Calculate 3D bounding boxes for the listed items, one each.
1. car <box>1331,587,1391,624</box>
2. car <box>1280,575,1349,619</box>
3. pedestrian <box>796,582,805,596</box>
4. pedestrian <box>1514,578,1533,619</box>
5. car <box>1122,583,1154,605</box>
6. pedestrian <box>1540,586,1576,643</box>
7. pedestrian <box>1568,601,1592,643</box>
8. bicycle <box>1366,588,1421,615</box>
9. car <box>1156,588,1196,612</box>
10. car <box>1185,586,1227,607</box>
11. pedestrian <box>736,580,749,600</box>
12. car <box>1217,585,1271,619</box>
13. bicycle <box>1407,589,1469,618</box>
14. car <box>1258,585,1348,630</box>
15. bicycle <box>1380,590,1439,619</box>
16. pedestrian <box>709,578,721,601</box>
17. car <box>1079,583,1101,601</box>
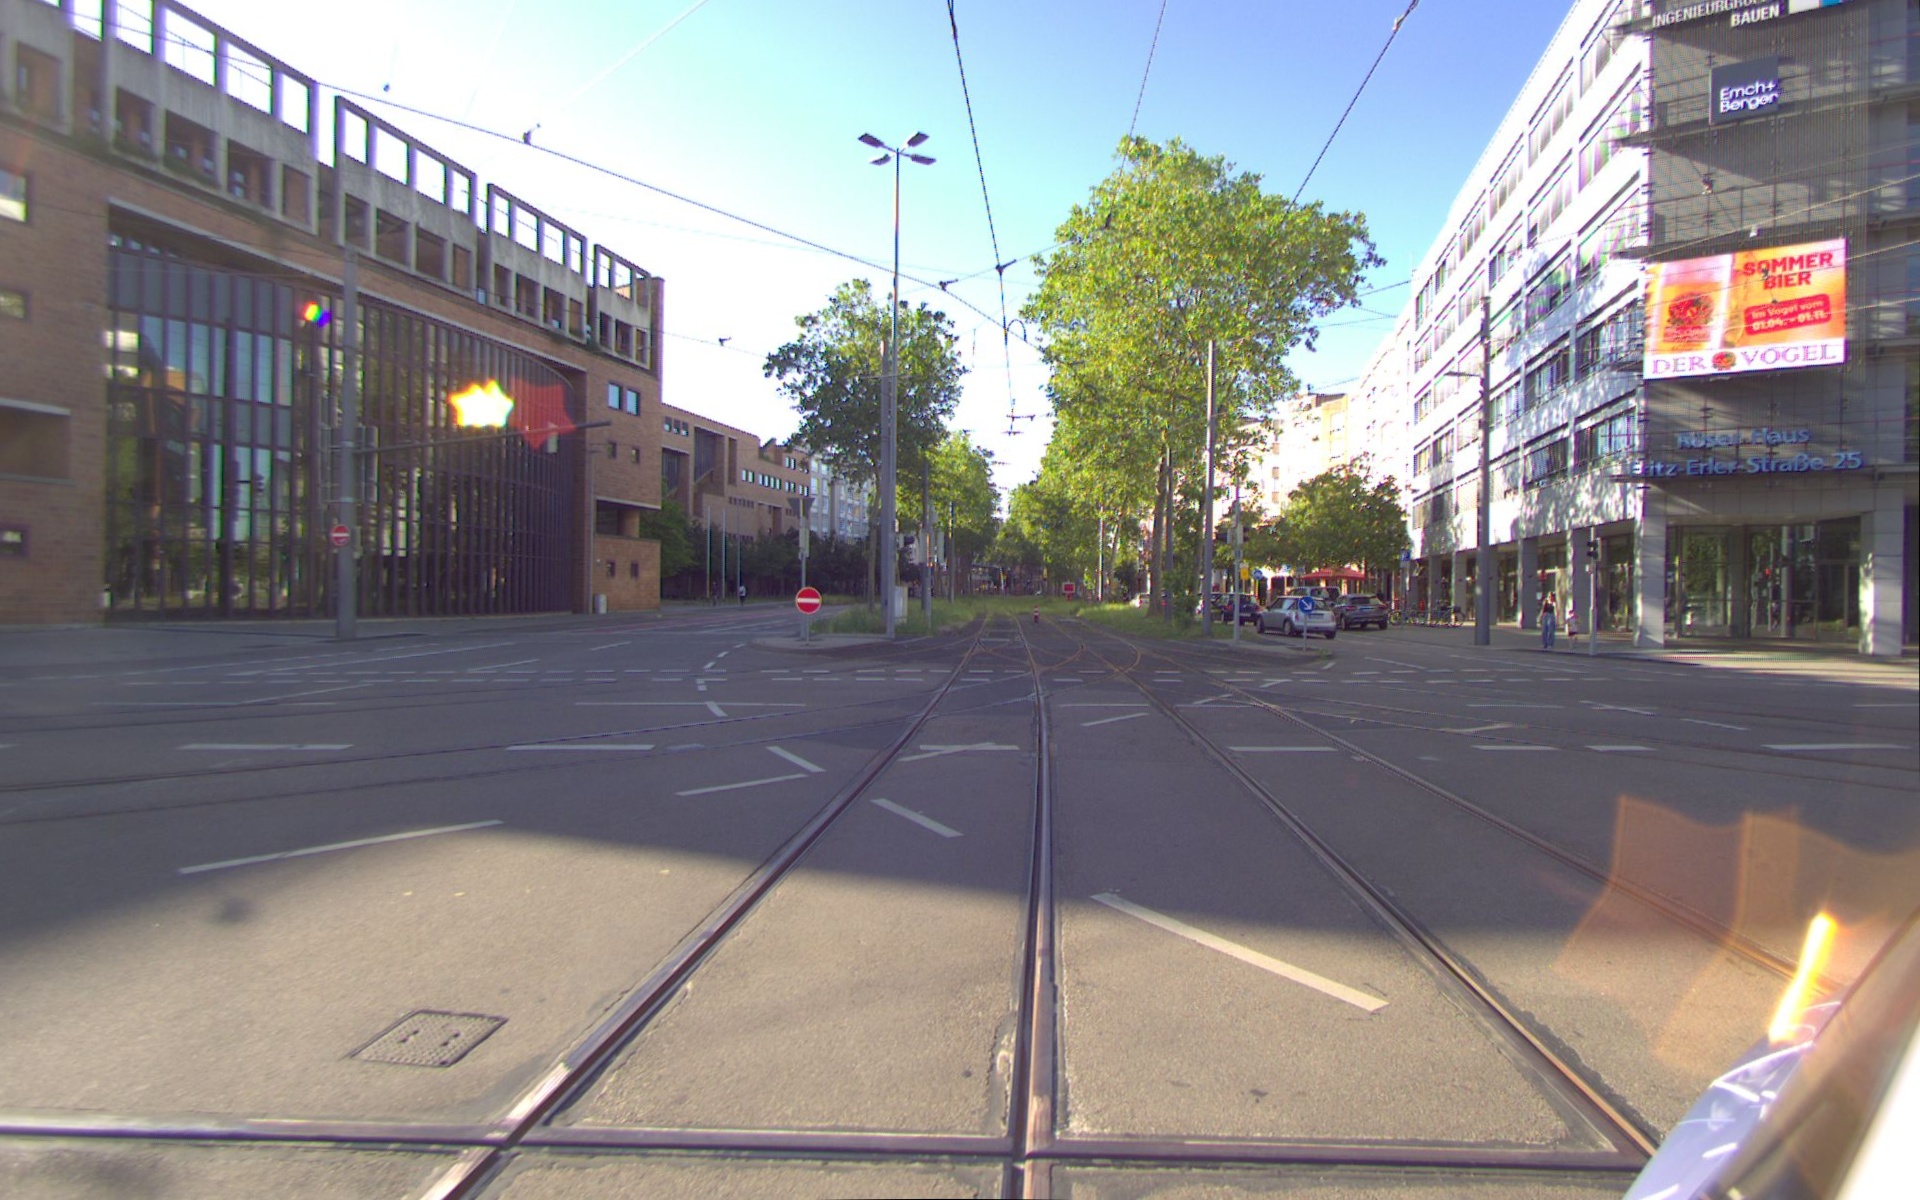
[{"bbox_3d":[17.146,0.190,43.448,1.839,1.493,3.961,1,1,13],"label":"car"},{"bbox_3d":[17.191,-0.179,49.286,1.832,2.041,4.456,1,1,1],"label":"car"},{"bbox_3d":[-15.585,-1.094,98.853,0.798,1.401,0.686,1,0,4],"label":"pedestrian"},{"bbox_3d":[24.452,-0.055,43.924,0.580,1.756,0.788,0,-1,20],"label":"pedestrian"},{"bbox_3d":[12.772,-0.432,72.783,1.669,1.493,3.981,1,1,1],"label":"car"},{"bbox_3d":[18.031,0.437,30.514,0.650,1.661,0.791,2,0,9],"label":"pedestrian"},{"bbox_3d":[18.622,0.660,30.417,0.436,1.225,0.461,2,0,9],"label":"pedestrian"},{"bbox_3d":[21.057,0.091,49.142,2.347,1.229,0.776,2,0,-5],"label":"bicycle"},{"bbox_3d":[13.272,0.002,62.414,1.668,1.458,4.018,0,0,1],"label":"car"},{"bbox_3d":[17.745,-0.261,73.280,1.830,1.493,3.981,1,1,-4],"label":"car"},{"bbox_3d":[-16.964,-0.747,78.805,0.780,1.532,0.816,1,1,5],"label":"pedestrian"},{"bbox_3d":[13.048,0.070,46.677,1.836,1.493,3.968,1,1,8],"label":"car"},{"bbox_3d":[21.038,0.149,44.581,2.361,1.229,0.771,2,0,16],"label":"bicycle"},{"bbox_3d":[11.778,0.229,34.946,1.633,1.406,3.540,2,1,-4],"label":"car"},{"bbox_3d":[20.480,0.201,46.130,2.347,1.229,0.776,2,0,-5],"label":"bicycle"},{"bbox_3d":[-17.795,-0.776,73.510,0.795,1.626,0.688,1,0,-10],"label":"pedestrian"},{"bbox_3d":[14.437,-0.861,112.595,1.789,1.791,4.315,1,-1,-1],"label":"car"}]
